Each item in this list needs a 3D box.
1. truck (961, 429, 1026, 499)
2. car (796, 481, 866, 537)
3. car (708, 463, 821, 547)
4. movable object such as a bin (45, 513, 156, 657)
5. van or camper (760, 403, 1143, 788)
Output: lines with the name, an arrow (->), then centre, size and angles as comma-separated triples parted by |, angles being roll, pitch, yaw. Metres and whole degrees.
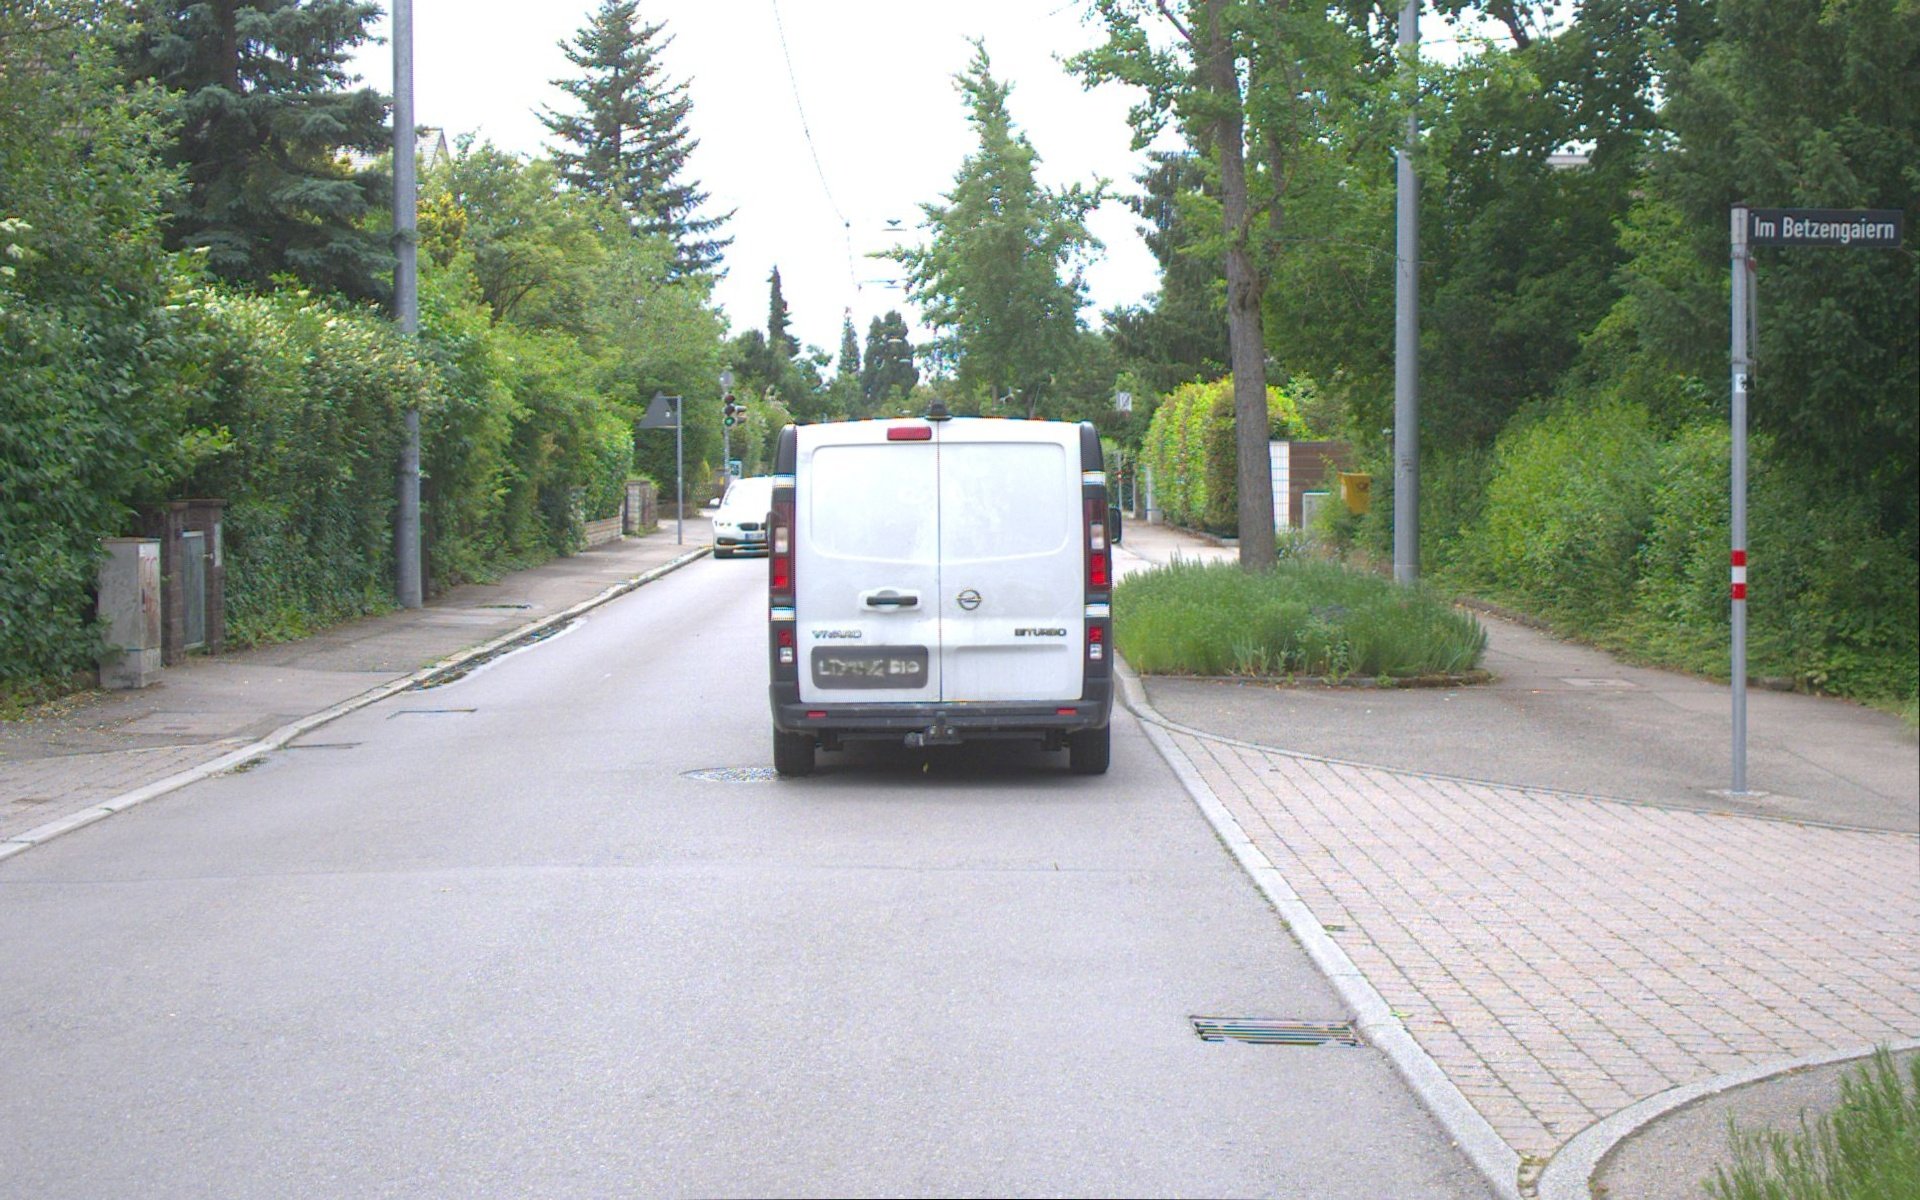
truck -> 1.232, -5.094, 128.736 | 2.187, 2.463, 7.431 | 1, 2, -1
car -> -3.536, -2.514, 94.478 | 1.805, 1.426, 4.119 | -3, 2, -2
car -> -3.599, -1.785, 63.934 | 1.805, 1.426, 4.301 | -2, 2, 0
movable object such as a bin -> -6.989, -0.127, 27.975 | 0.727, 1.113, 0.585 | 3, 2, -4
van or camper -> -0.099, -0.065, 20.176 | 1.939, 1.947, 4.766 | 1, 1, -1
